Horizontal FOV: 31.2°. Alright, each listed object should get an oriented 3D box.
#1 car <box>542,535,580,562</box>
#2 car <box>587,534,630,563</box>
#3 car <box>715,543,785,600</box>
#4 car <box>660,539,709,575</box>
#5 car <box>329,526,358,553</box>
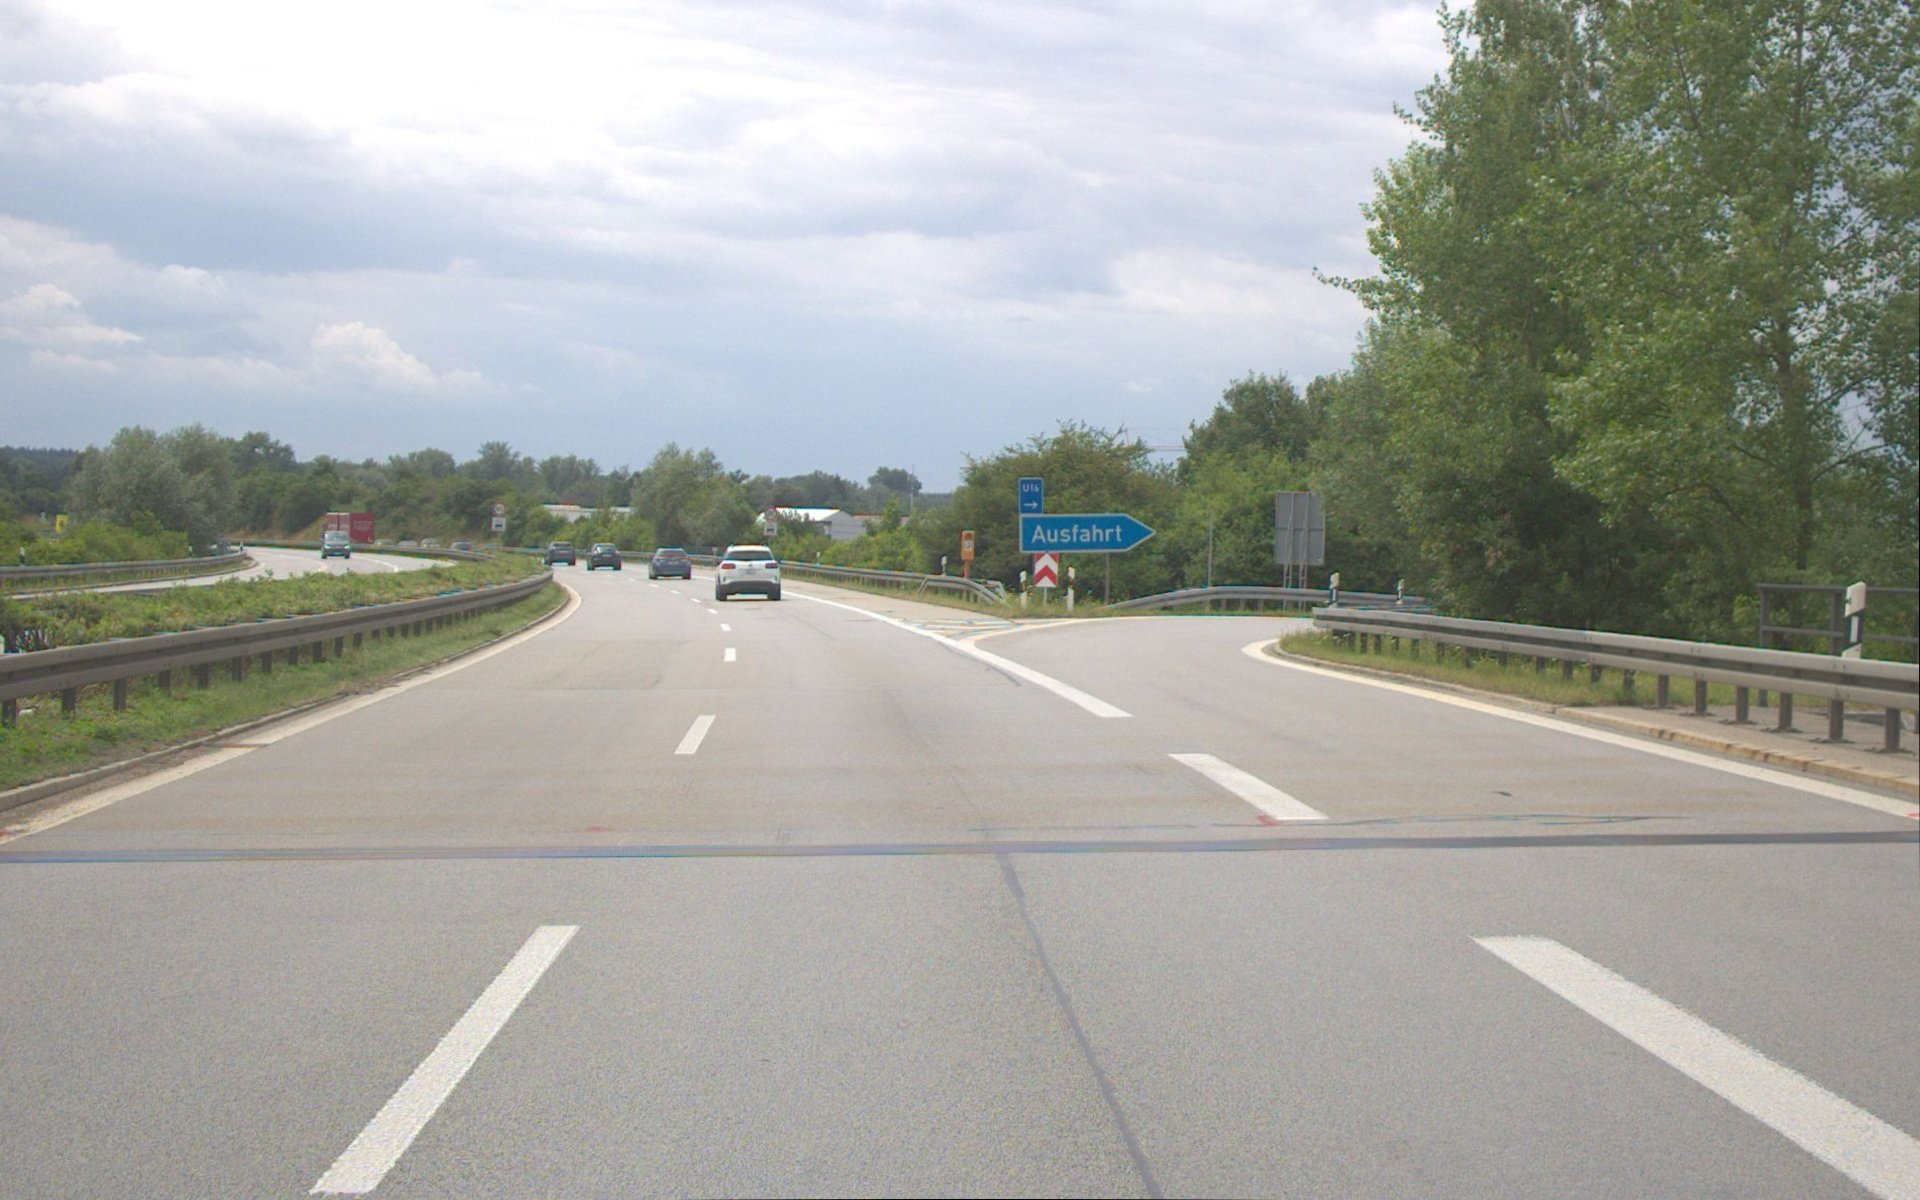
[{"bbox_3d":[-26.798,-3.484,230.694,1.826,1.787,4.415,0,1,-16],"label":"car"},{"bbox_3d":[-20.528,-3.009,200.599,1.902,1.634,4.781,1,1,-13],"label":"car"},{"bbox_3d":[-6.353,-0.884,103.788,1.902,1.634,4.397,1,1,-6],"label":"car"},{"bbox_3d":[-12.647,-1.983,157.839,1.892,1.634,4.623,1,1,-9],"label":"car"},{"bbox_3d":[-43.936,-4.308,244.971,1.700,1.878,5.229,1,1,-7],"label":"car"}]
